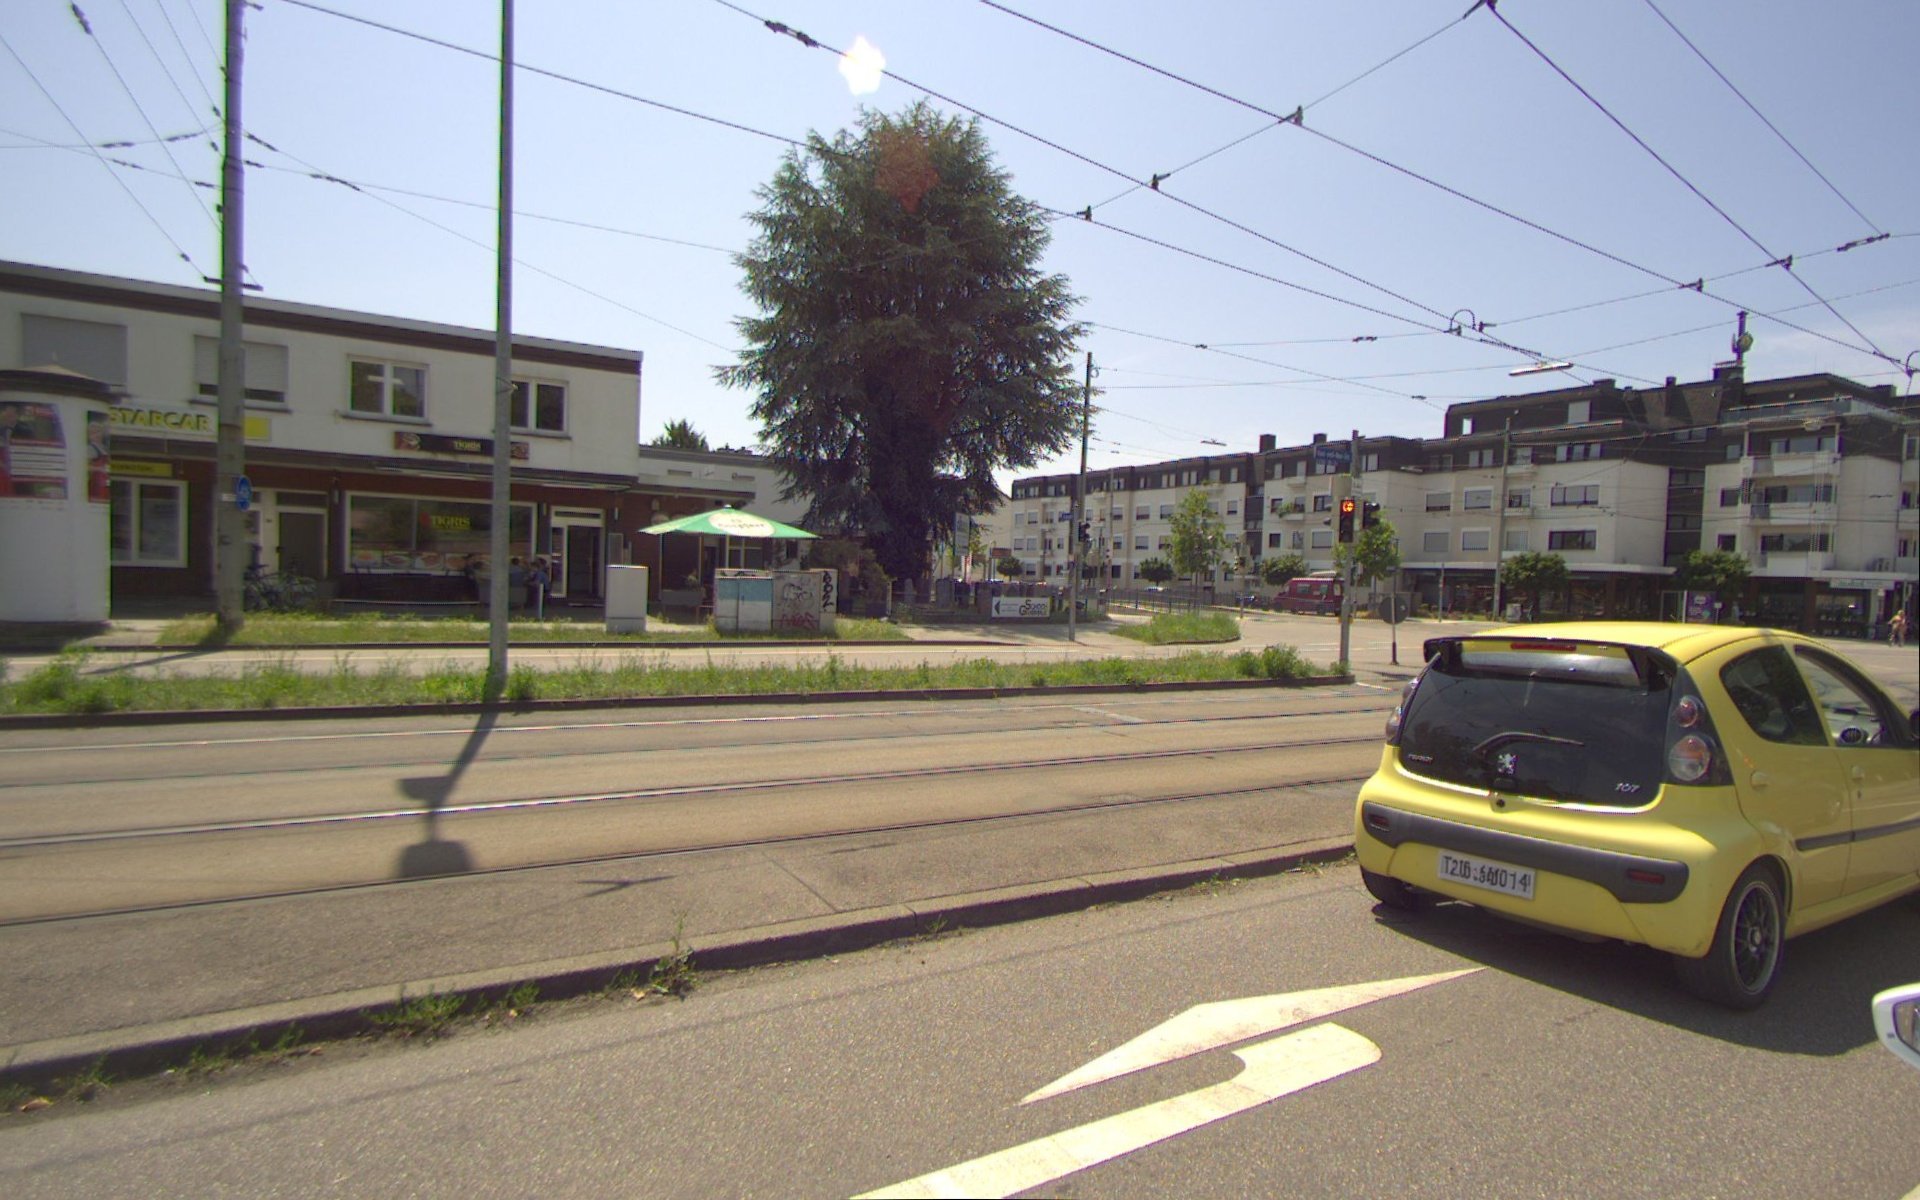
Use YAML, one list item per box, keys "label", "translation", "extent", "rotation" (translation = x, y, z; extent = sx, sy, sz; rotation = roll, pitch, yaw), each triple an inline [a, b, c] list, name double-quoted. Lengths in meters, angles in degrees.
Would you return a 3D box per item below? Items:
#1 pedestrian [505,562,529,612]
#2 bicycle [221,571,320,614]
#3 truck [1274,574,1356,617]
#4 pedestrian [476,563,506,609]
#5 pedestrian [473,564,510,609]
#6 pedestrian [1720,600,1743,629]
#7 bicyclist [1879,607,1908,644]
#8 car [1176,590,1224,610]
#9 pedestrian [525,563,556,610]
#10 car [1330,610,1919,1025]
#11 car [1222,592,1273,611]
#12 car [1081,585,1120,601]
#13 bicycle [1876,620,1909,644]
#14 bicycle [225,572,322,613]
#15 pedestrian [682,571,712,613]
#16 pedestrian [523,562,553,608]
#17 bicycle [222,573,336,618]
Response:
- label: "pedestrian"
  translation: [-11.345, -0.343, 25.701]
  extent: [0.486, 1.255, 0.572]
  rotation: [1, 2, -31]
- label: "bicycle"
  translation: [-15.196, -0.156, 22.188]
  extent: [1.767, 0.859, 0.525]
  rotation: [2, 4, -31]
- label: "truck"
  translation: [23.987, -0.348, 68.007]
  extent: [2.161, 2.734, 5.002]
  rotation: [1, 1, -29]
- label: "pedestrian"
  translation: [-12.473, -0.378, 26.693]
  extent: [0.666, 1.179, 0.514]
  rotation: [1, 2, -30]
- label: "pedestrian"
  translation: [-12.145, -0.344, 26.032]
  extent: [0.801, 1.142, 0.561]
  rotation: [1, 2, -30]
- label: "pedestrian"
  translation: [46.105, 0.858, 60.038]
  extent: [0.791, 1.719, 0.702]
  rotation: [2, 1, 12]
- label: "bicyclist"
  translation: [46.715, 1.257, 50.264]
  extent: [1.124, 1.789, 0.691]
  rotation: [0, 2, -31]
- label: "car"
  translation: [18.454, -0.008, 77.306]
  extent: [1.571, 1.452, 3.553]
  rotation: [1, 1, -29]
- label: "pedestrian"
  translation: [-11.112, -0.364, 26.586]
  extent: [0.666, 1.215, 0.514]
  rotation: [1, 2, -30]
- label: "car"
  translation: [3.761, 0.817, 5.149]
  extent: [3.614, 1.440, 1.607]
  rotation: [2, -1, -31]
- label: "car"
  translation: [20.981, 0.093, 73.439]
  extent: [1.571, 1.235, 3.553]
  rotation: [1, 1, -29]
- label: "car"
  translation: [12.174, -0.596, 87.256]
  extent: [1.571, 1.257, 3.553]
  rotation: [1, 1, -29]
- label: "bicycle"
  translation: [46.614, 1.583, 50.227]
  extent: [1.909, 1.164, 0.691]
  rotation: [0, 2, -32]
- label: "bicycle"
  translation: [-15.477, -0.166, 22.683]
  extent: [1.767, 0.859, 0.525]
  rotation: [2, 4, -31]
- label: "pedestrian"
  translation: [-7.477, -0.228, 28.549]
  extent: [0.666, 1.142, 0.514]
  rotation: [1, 2, -30]
- label: "pedestrian"
  translation: [-11.435, -0.415, 27.203]
  extent: [0.666, 1.225, 0.514]
  rotation: [1, 2, -30]
- label: "bicycle"
  translation: [-14.373, -0.082, 21.263]
  extent: [1.936, 0.859, 0.599]
  rotation: [2, 4, -31]
